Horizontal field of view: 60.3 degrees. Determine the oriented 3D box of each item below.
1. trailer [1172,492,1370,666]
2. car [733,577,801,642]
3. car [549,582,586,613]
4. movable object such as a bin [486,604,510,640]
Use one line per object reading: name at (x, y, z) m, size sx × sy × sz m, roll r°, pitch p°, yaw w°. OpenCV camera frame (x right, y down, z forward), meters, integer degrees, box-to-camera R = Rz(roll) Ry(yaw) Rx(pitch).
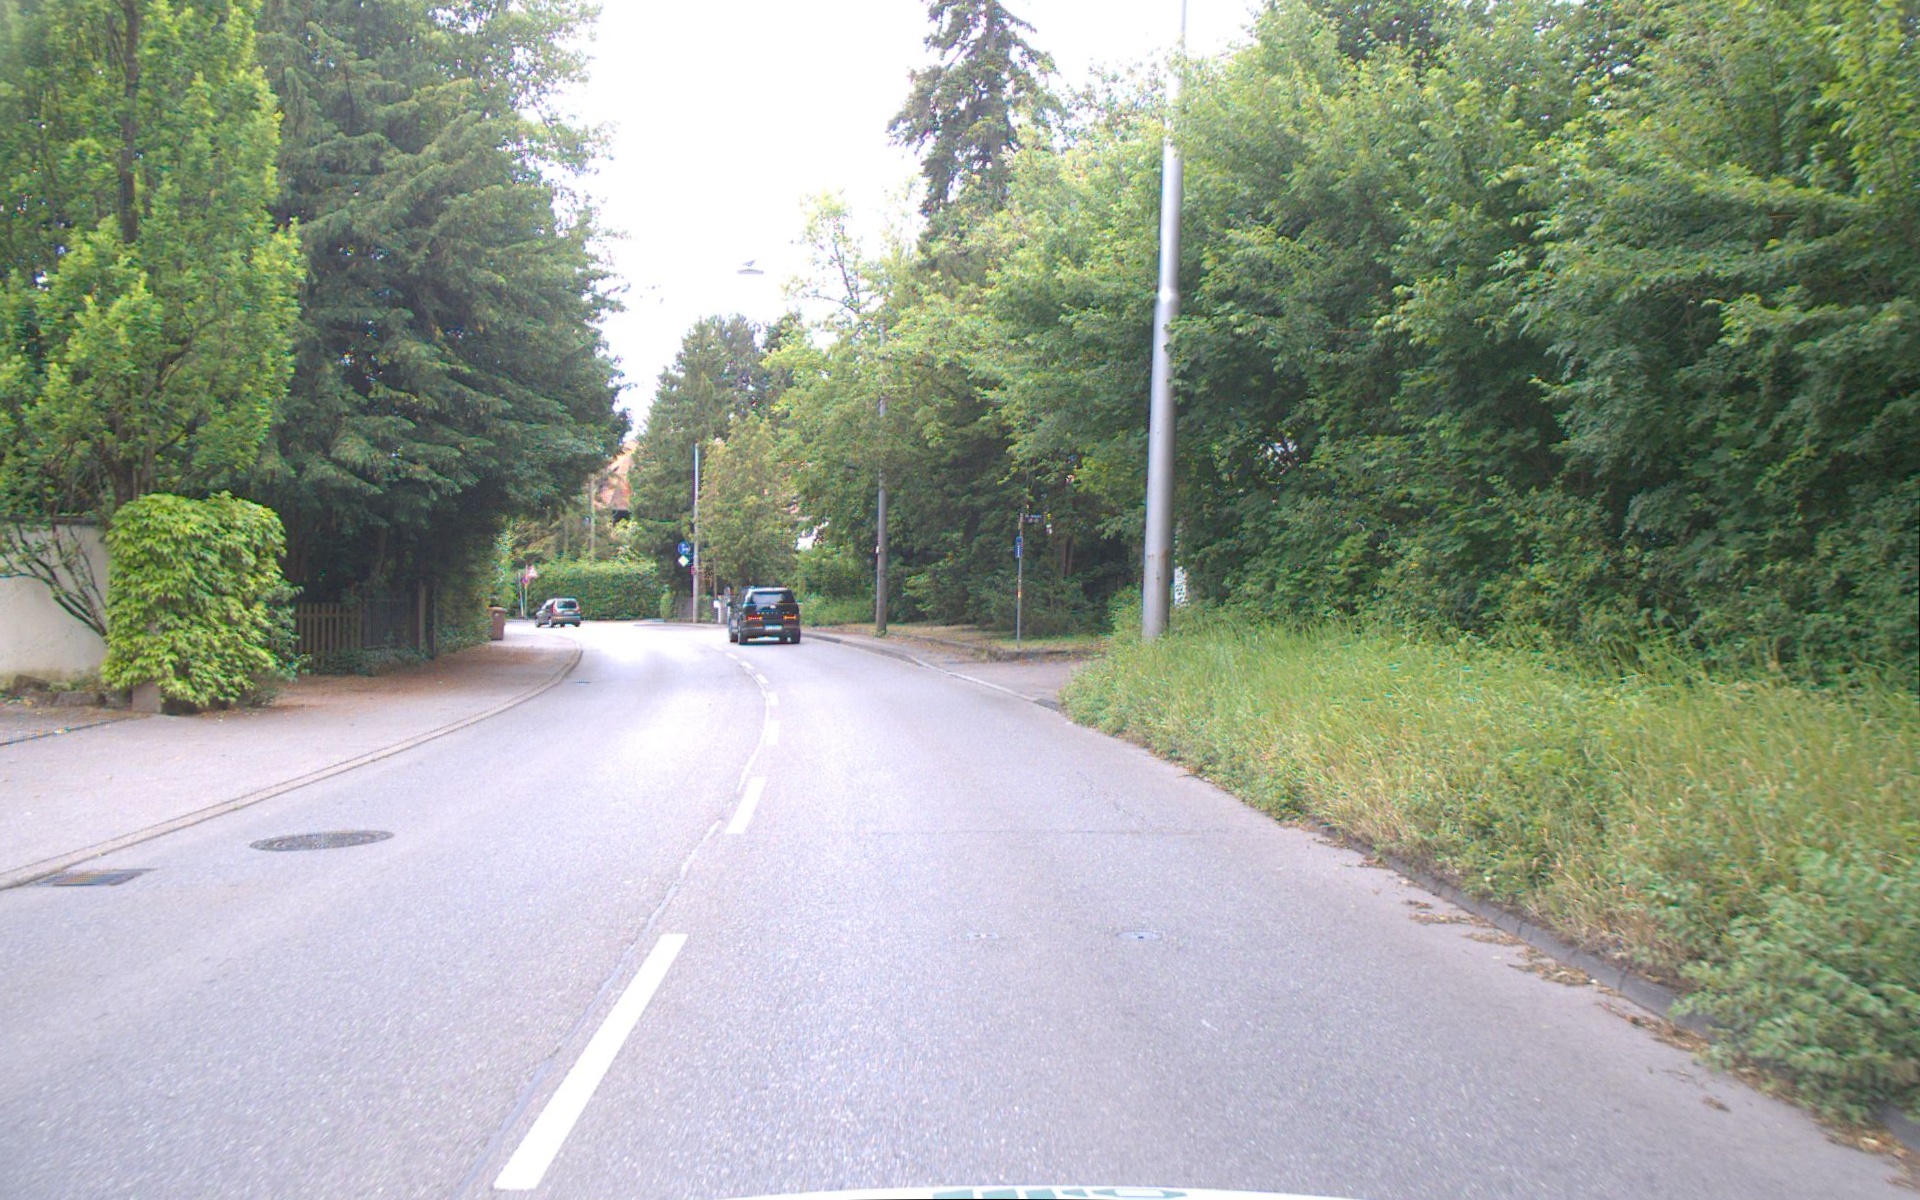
trailer at (5.437, -0.362, 29.053) m, size 3.061 × 2.950 × 1.589 m, roll 0°, pitch 0°, yaw -11°
car at (-5.973, 0.266, 51.570) m, size 1.955 × 1.914 × 3.996 m, roll 1°, pitch 1°, yaw -5°
car at (-22.148, -0.152, 93.233) m, size 1.960 × 1.646 × 3.986 m, roll 1°, pitch 1°, yaw -14°
movable object such as a bin at (-15.284, 0.731, 54.746) m, size 0.729 × 1.161 × 0.643 m, roll 2°, pitch -1°, yaw -16°
